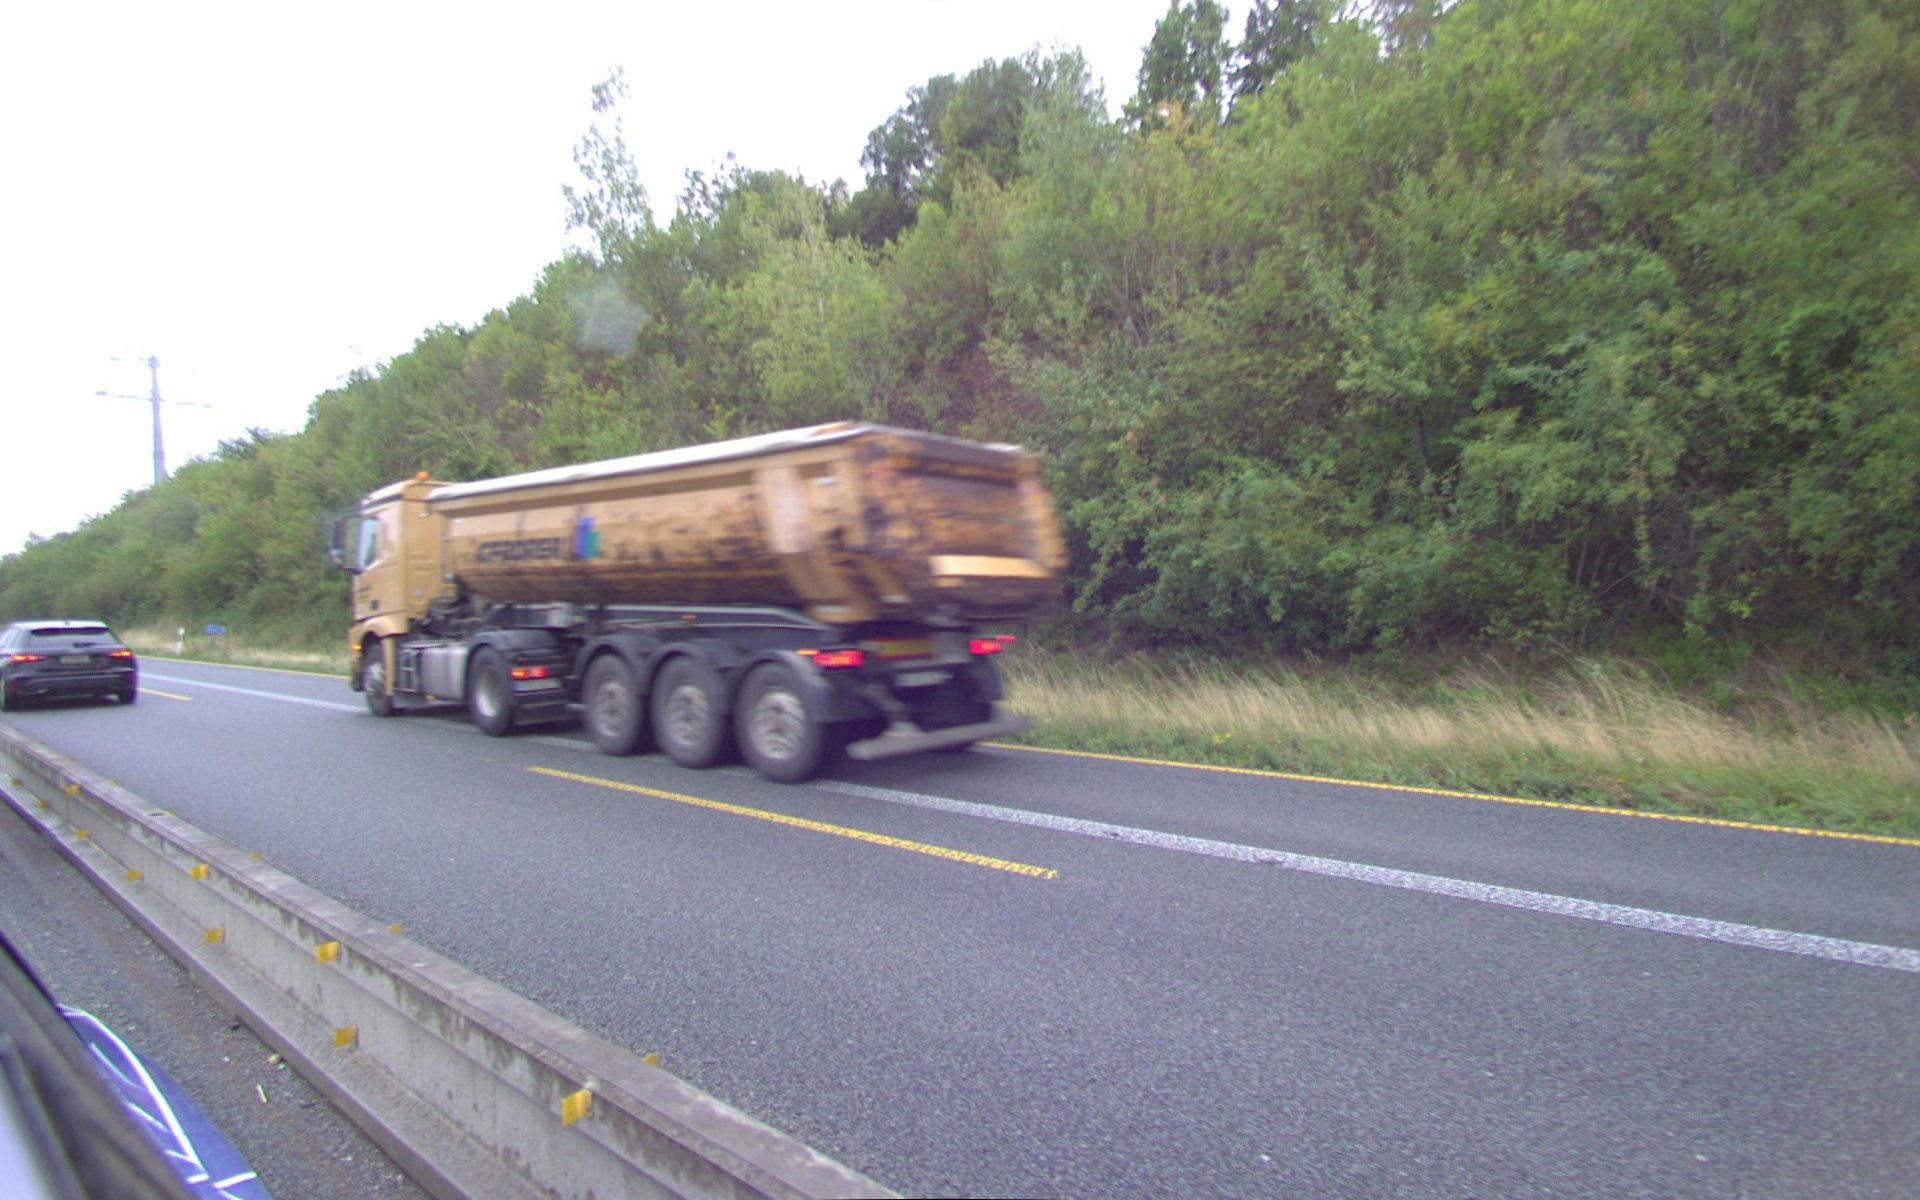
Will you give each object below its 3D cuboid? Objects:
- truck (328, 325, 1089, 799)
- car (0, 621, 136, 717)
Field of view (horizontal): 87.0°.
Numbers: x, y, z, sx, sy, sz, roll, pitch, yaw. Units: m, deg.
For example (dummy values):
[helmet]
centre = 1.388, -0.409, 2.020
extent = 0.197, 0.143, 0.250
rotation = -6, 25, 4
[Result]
[truck]
centre = -4.174, -0.216, 12.159
extent = 12.045, 3.378, 2.508
rotation = -1, 0, 42
[car]
centre = -15.664, 1.086, 17.341
extent = 3.926, 1.420, 1.669
rotation = -1, 0, 40
